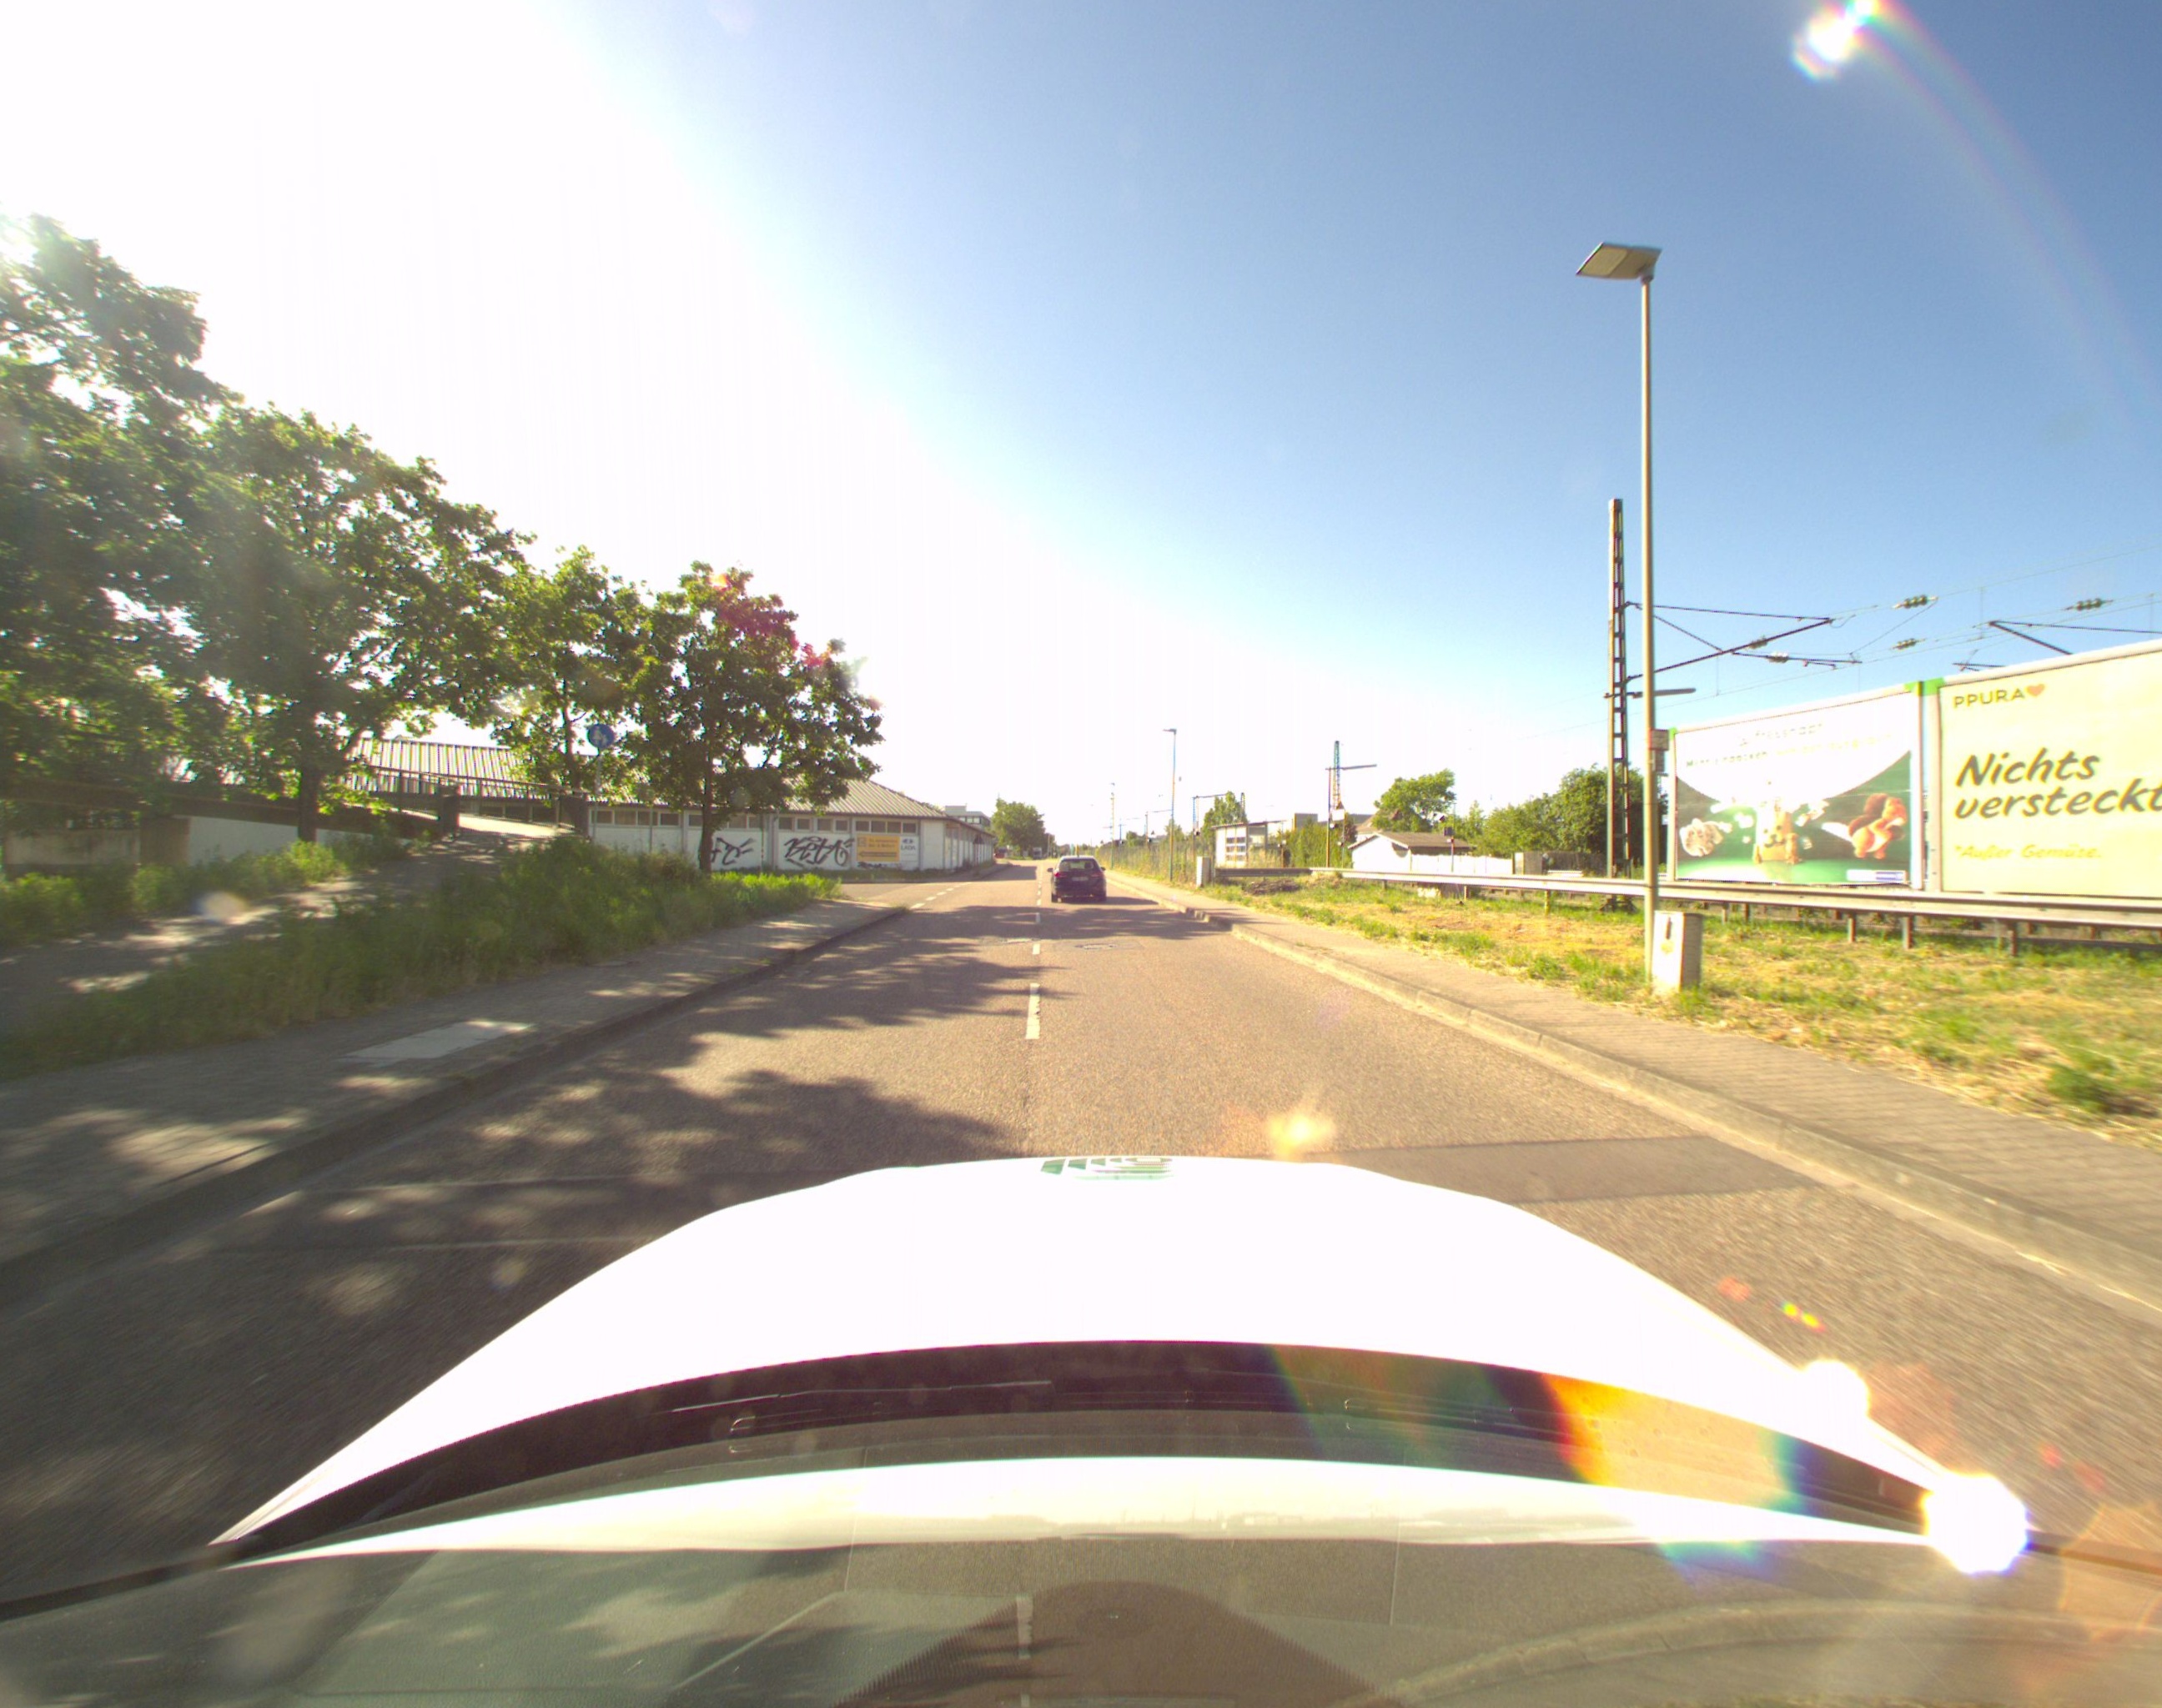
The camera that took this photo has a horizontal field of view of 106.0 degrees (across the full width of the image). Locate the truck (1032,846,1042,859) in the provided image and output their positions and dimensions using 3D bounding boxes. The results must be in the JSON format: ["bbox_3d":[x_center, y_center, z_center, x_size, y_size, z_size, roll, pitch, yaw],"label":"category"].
[{"bbox_3d":[-13.117,-0.427,242.044,2.608,3.885,13.509,1,0,-5],"label":"truck"}]

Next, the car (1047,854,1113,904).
[{"bbox_3d":[-0.122,0.763,27.163,1.938,1.489,4.560,-1,0,-3],"label":"car"}]
